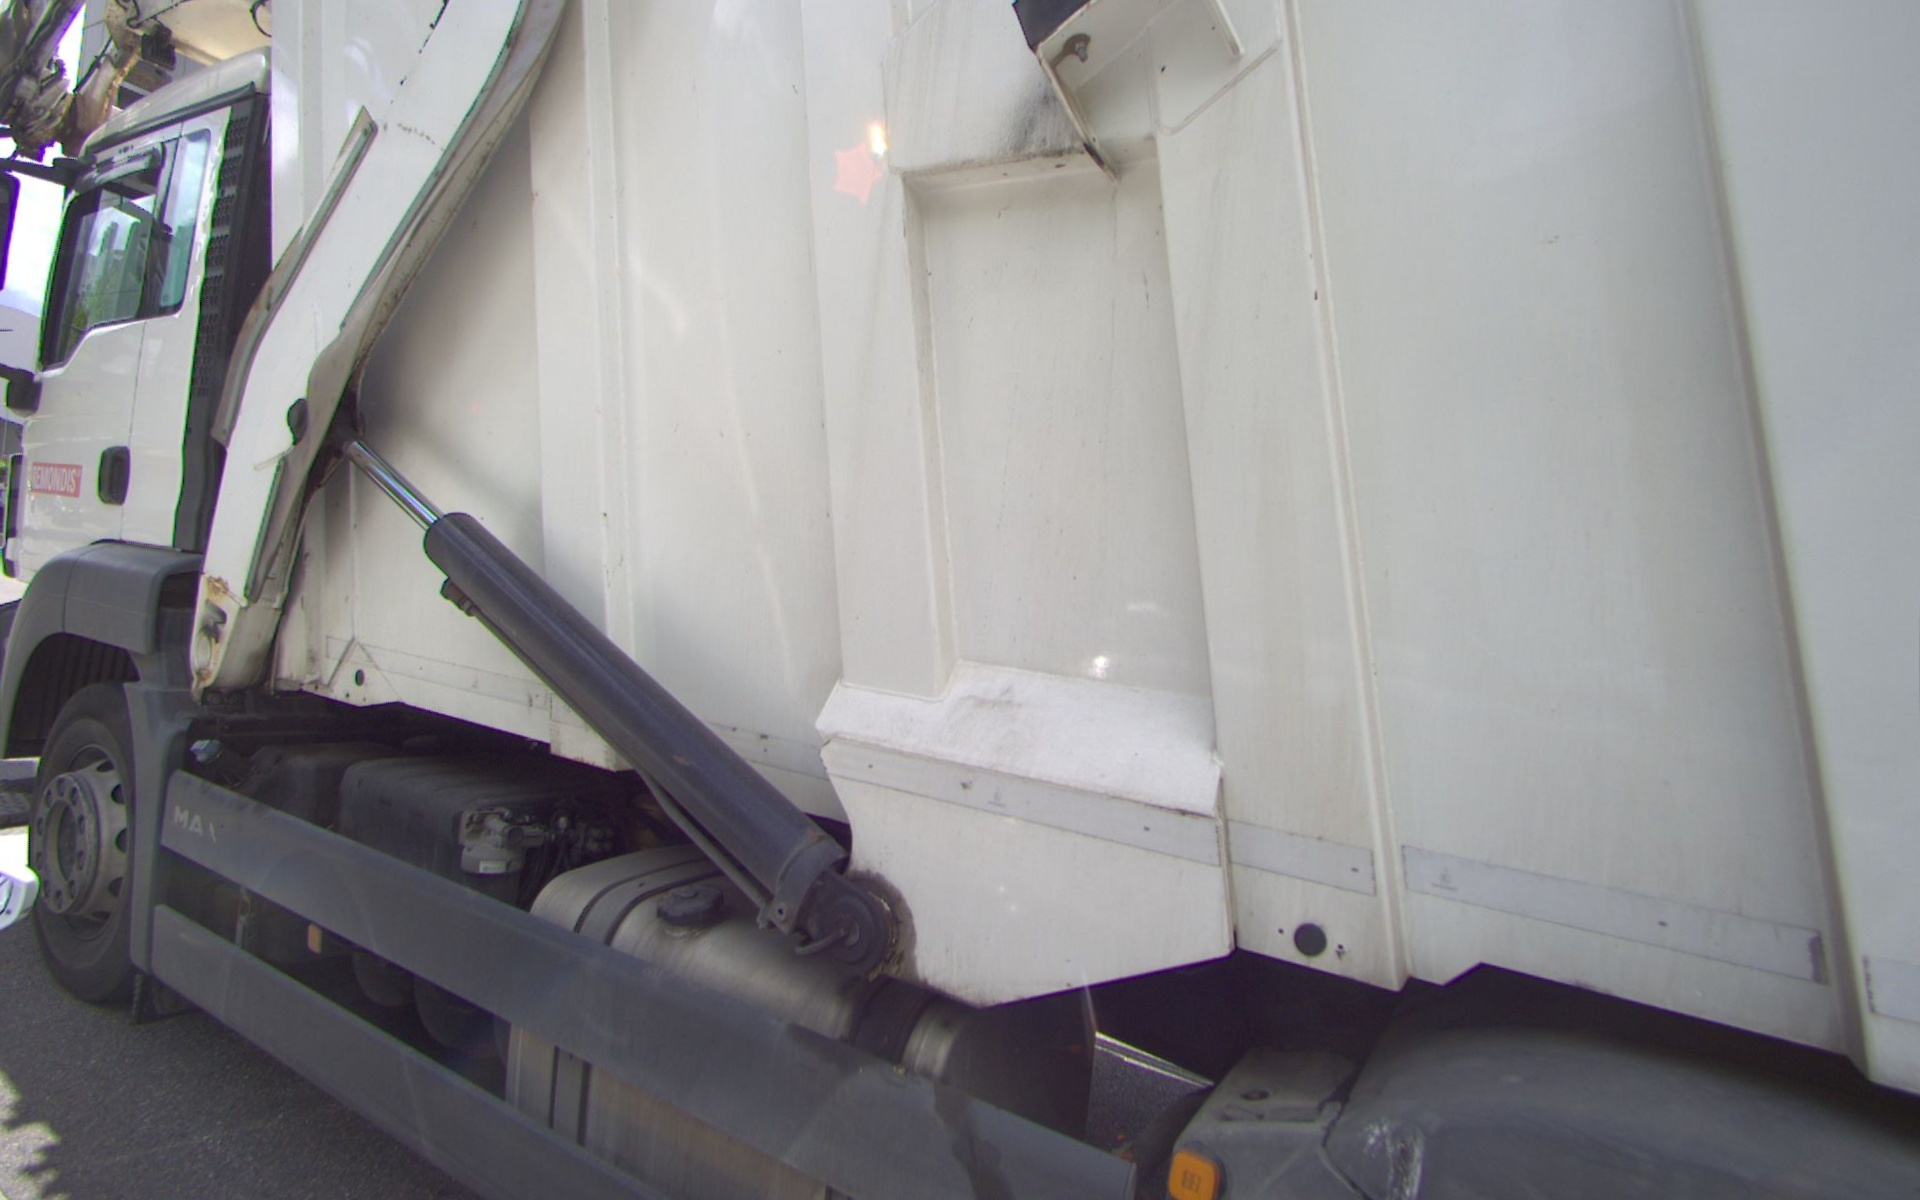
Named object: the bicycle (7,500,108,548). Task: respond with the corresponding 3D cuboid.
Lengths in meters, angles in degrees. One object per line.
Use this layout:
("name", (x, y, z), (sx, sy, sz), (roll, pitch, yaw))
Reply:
("bicycle", (-27.952, -2.337, 31.206), (2.197, 1.099, 0.474), (8, -1, -23))

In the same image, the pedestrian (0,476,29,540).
("pedestrian", (-28.101, -2.727, 29.598), (0.698, 1.818, 0.693), (7, 3, 16))

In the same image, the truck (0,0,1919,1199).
("truck", (1.108, -0.265, 2.180), (10.003, 3.958, 2.494), (6, -1, 31))

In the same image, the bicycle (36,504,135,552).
("bicycle", (-26.934, -2.210, 31.009), (2.166, 1.099, 0.474), (8, -1, -23))

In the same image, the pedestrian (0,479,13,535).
("pedestrian", (-29.239, -2.853, 30.340), (0.646, 1.659, 0.535), (7, -1, 3))

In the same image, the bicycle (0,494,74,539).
("bicycle", (-29.288, -2.643, 31.491), (2.197, 1.099, 0.474), (8, -1, -23))
